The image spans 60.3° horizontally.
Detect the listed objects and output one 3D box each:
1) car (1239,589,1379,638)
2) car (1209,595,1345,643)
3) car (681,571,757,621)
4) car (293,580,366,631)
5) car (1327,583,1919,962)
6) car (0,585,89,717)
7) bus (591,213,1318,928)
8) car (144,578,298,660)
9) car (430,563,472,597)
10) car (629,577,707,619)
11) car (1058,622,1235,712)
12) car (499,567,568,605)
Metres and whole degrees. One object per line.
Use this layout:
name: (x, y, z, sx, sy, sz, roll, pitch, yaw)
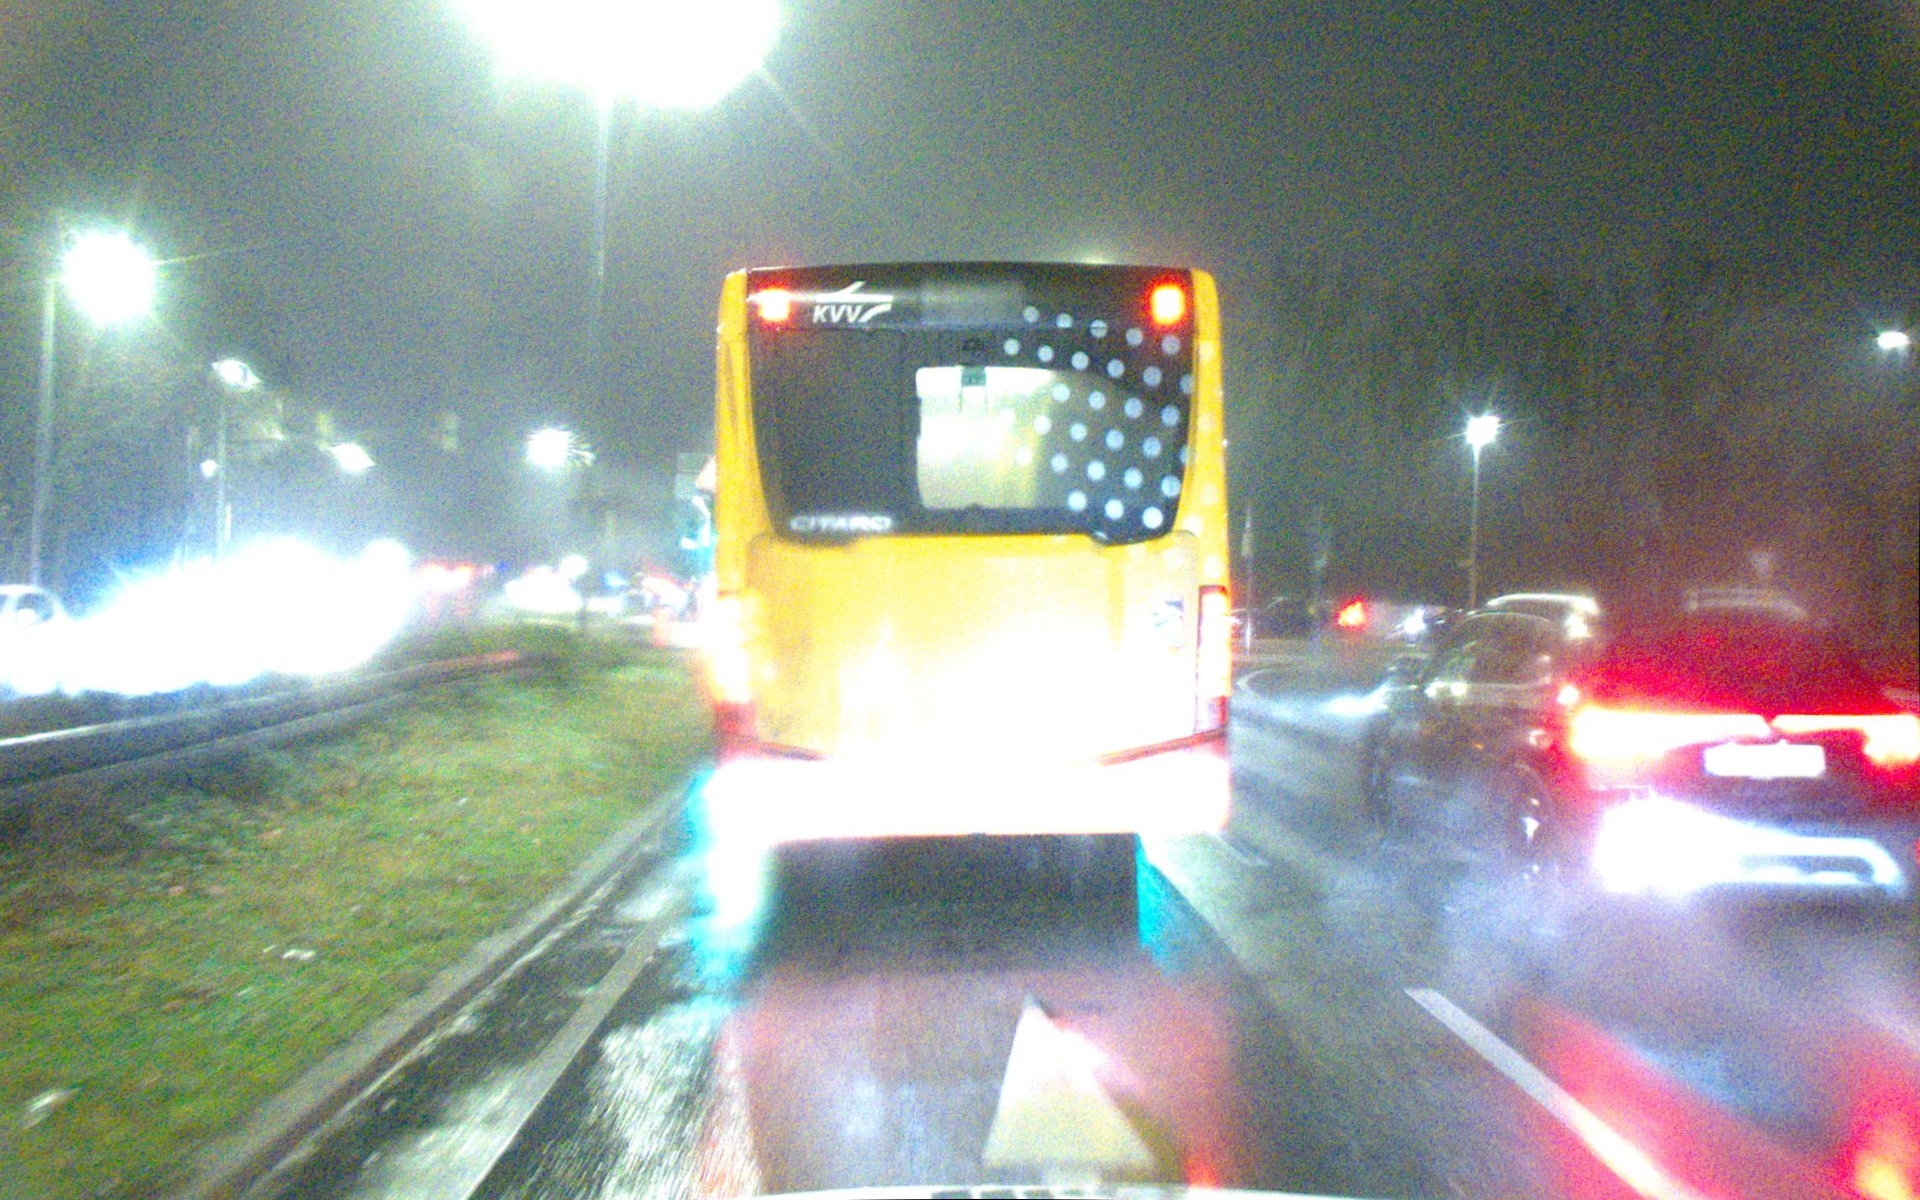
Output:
car: (12.131, 0.462, 57.587, 4.397, 1.545, 1.854, 2, 1, -7)
car: (10.193, 0.604, 53.328, 3.965, 1.369, 1.745, 2, 1, -7)
car: (-8.484, -0.124, 57.970, 1.790, 1.646, 3.974, 2, -1, -21)
car: (-20.104, 0.167, 52.877, 1.705, 1.522, 3.925, -2, 0, -14)
car: (3.301, 0.746, 8.898, 1.643, 1.548, 3.959, 1, -1, -2)
car: (-13.116, 0.614, 22.041, 1.816, 1.598, 3.496, 0, 1, -13)
bus: (-0.354, -0.219, 12.078, 3.220, 3.103, 9.536, 0, 1, -4)
car: (-15.629, 0.392, 35.238, 1.741, 1.621, 4.553, 0, 0, -7)
car: (-27.889, -1.093, 90.506, 1.964, 1.751, 3.976, 2, -1, -20)
car: (-12.235, -0.093, 69.164, 1.799, 1.646, 3.954, 2, -1, -33)
car: (2.971, 1.042, 27.179, 1.657, 1.354, 3.946, 0, -1, -14)
car: (-19.709, -0.632, 76.397, 2.069, 1.672, 3.689, 2, -1, -32)
